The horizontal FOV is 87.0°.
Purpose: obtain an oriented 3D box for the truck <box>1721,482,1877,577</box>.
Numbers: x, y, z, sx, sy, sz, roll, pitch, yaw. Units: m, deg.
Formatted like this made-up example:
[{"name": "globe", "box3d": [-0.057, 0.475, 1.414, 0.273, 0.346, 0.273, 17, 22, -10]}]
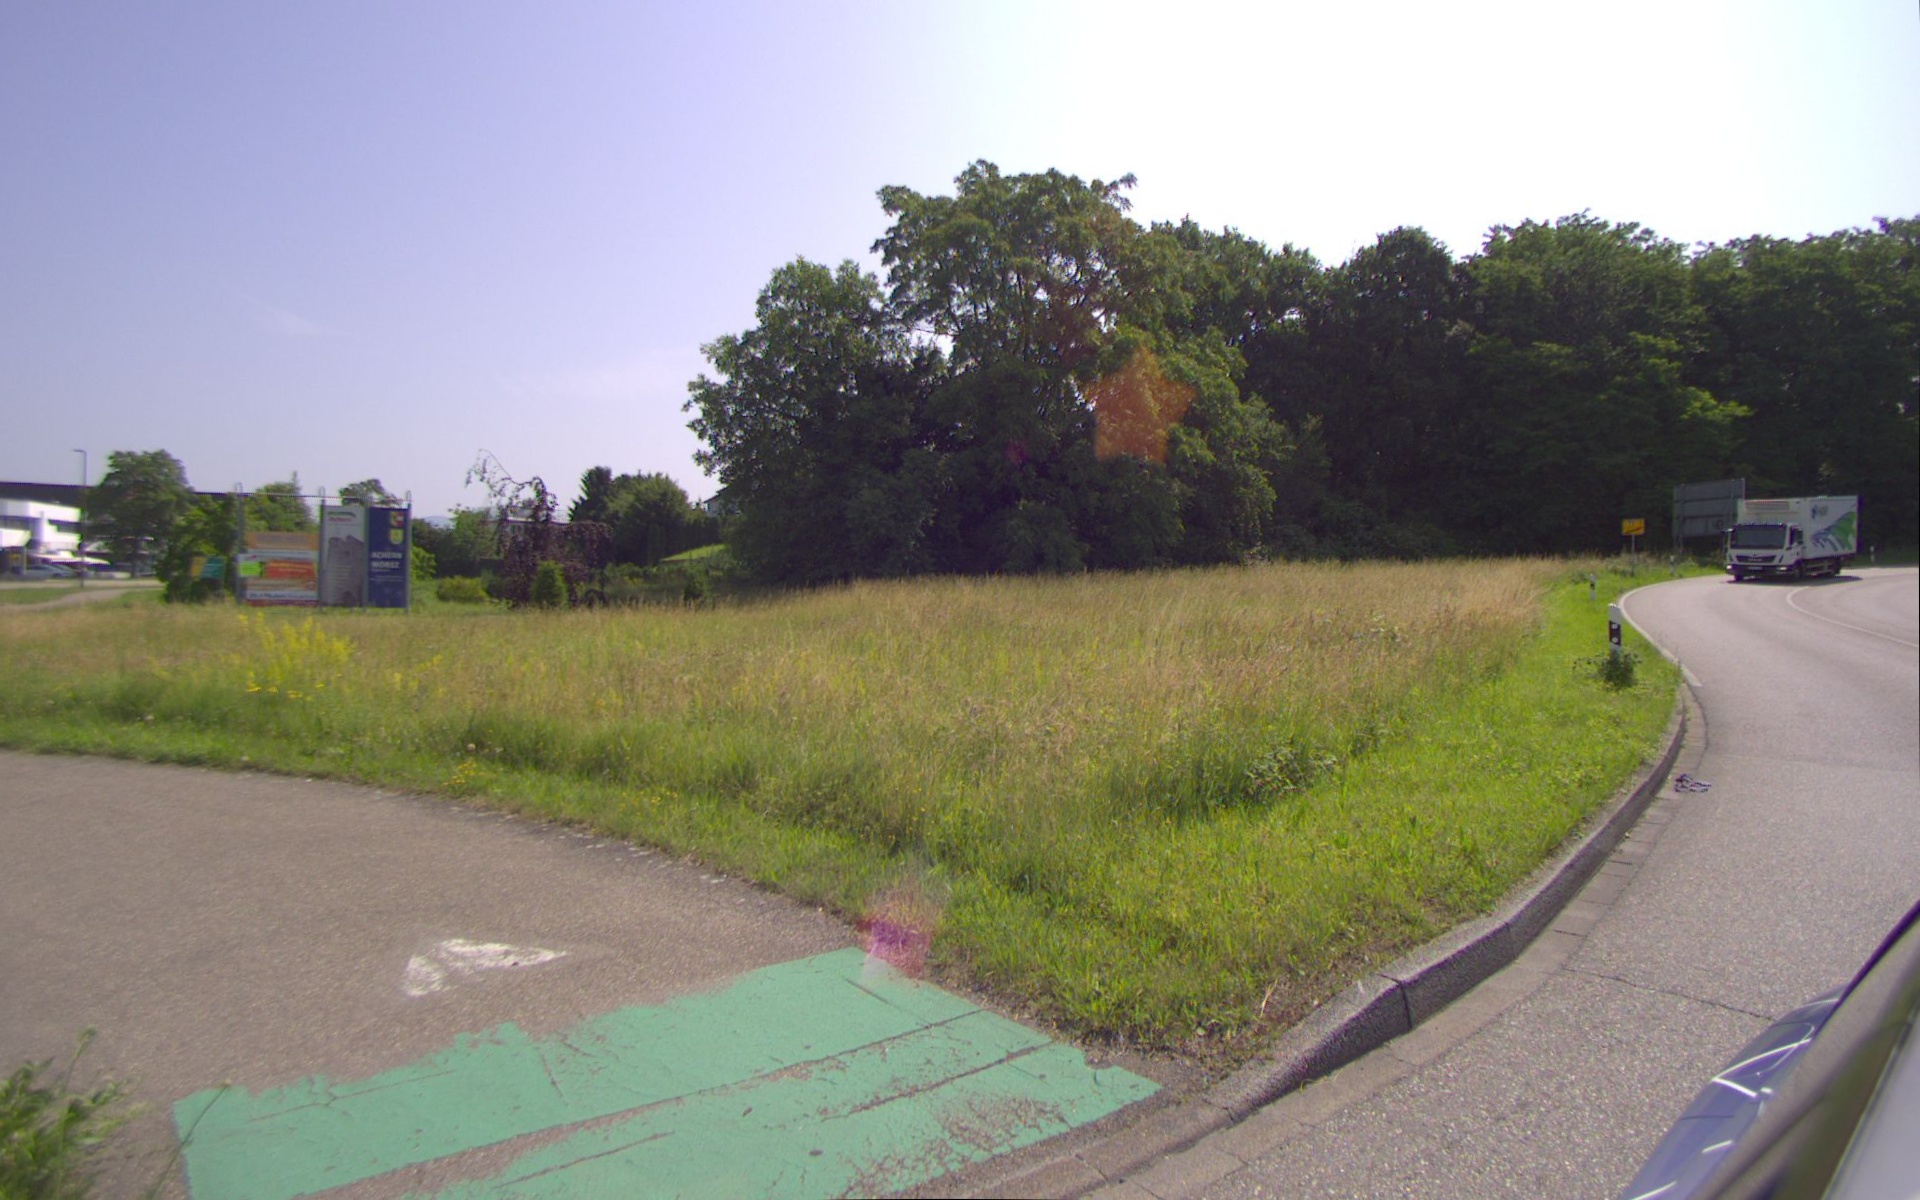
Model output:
[{"name": "truck", "box3d": [37.546, -3.199, 45.167, 8.853, 3.874, 2.902, -4, 4, -34]}]
